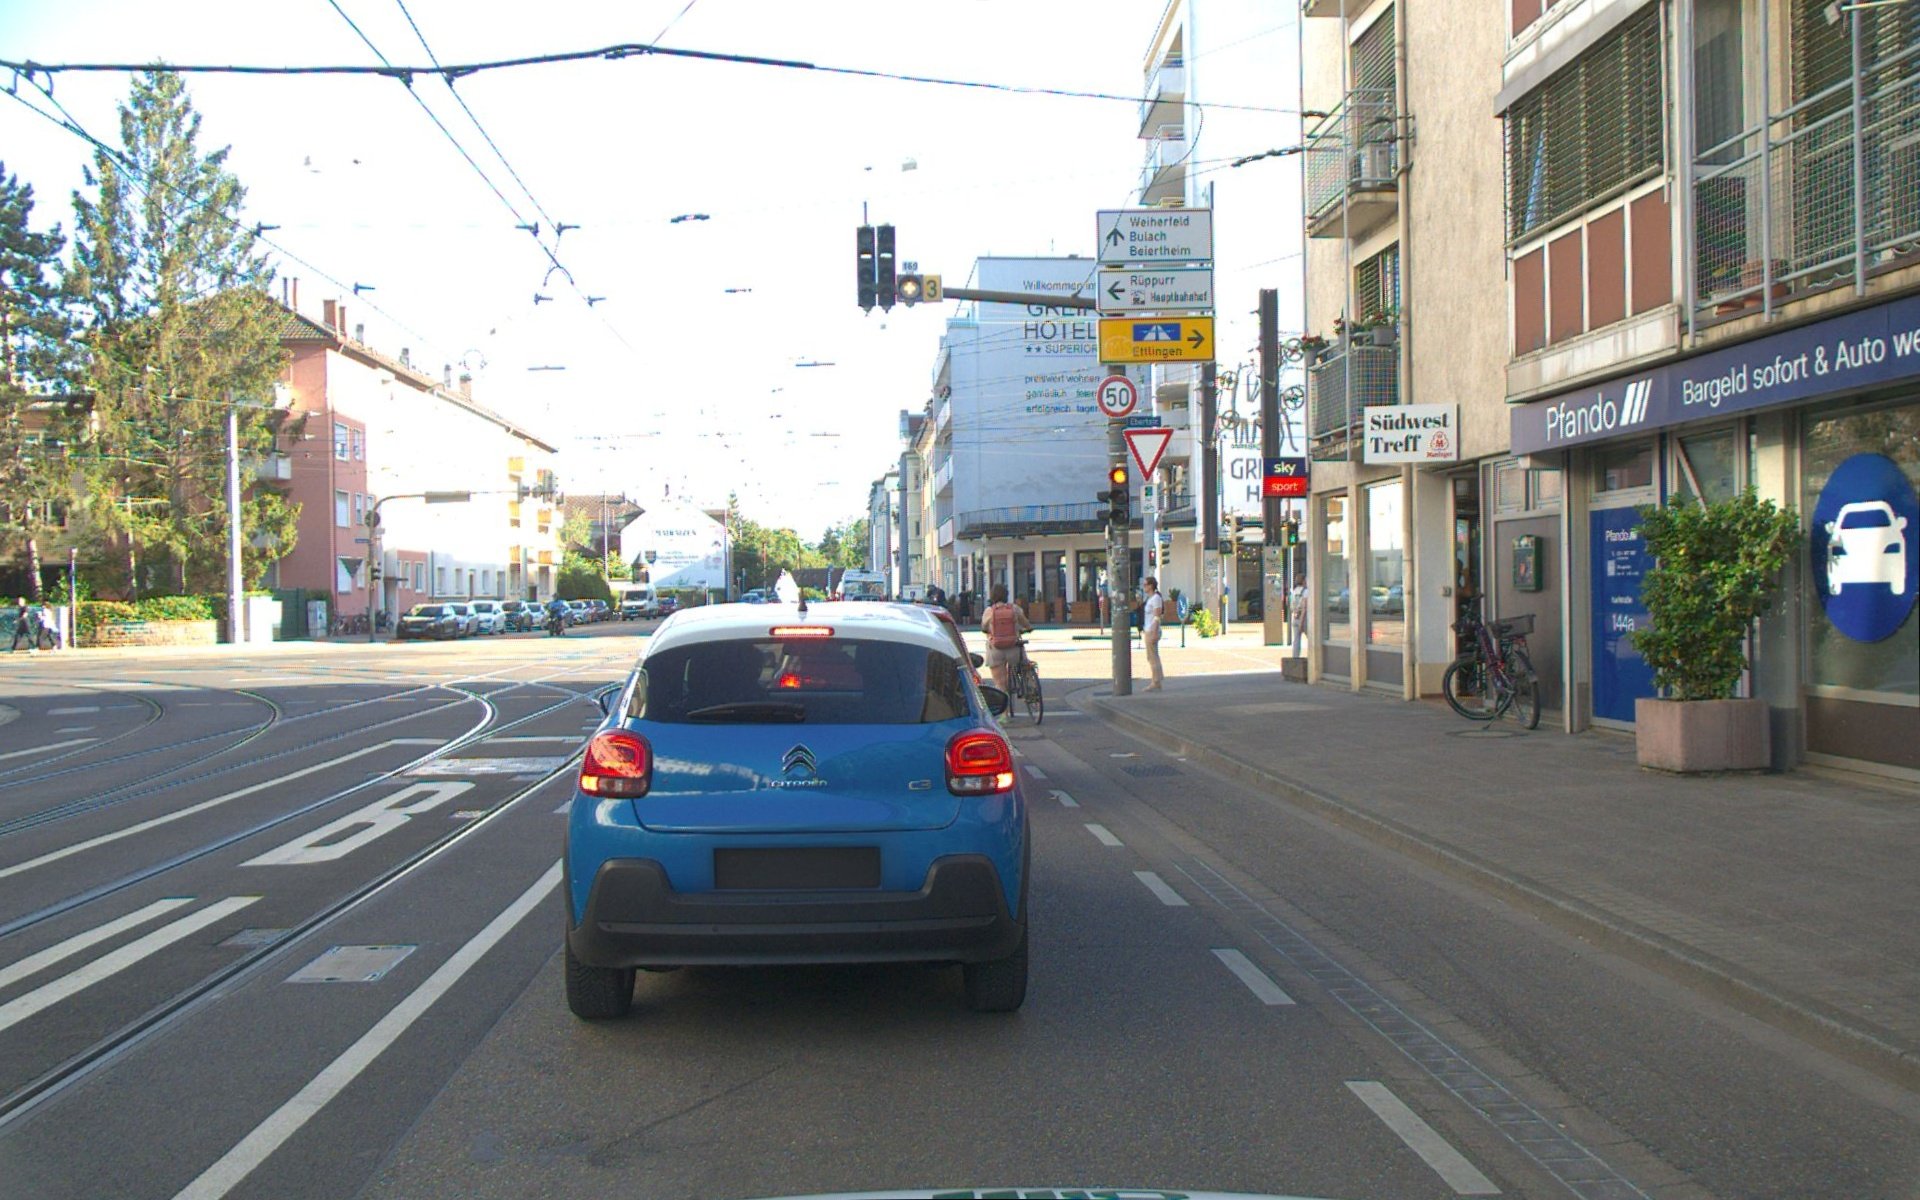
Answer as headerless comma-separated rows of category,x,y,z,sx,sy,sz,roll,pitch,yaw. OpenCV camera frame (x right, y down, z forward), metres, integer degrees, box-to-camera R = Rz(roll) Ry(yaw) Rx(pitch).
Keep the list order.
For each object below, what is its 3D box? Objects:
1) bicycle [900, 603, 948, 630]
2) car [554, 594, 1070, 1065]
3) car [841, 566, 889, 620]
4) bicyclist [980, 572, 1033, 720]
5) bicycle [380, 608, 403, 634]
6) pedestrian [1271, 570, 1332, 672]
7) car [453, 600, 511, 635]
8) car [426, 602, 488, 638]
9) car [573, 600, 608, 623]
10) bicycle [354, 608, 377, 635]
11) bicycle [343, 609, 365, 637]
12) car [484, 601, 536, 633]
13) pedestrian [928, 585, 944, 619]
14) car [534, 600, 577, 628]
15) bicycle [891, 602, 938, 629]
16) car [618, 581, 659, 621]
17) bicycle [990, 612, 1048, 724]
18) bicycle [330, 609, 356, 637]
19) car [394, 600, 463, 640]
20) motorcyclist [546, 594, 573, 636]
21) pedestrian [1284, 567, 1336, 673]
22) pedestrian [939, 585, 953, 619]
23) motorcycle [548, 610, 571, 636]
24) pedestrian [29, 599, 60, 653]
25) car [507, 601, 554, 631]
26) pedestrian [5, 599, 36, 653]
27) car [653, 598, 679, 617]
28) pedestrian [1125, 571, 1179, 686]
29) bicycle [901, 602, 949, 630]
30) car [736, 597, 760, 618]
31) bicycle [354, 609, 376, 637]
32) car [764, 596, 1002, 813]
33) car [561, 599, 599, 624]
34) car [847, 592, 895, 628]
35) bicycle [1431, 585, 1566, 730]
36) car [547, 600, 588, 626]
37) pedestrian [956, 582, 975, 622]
bicycle,-1.447,0.664,67.082,1.868,1.083,0.641,-1,0,-8
car,-0.611,0.734,7.348,1.647,1.488,3.997,1,0,-4
car,-4.232,-0.319,73.175,2.039,2.309,5.646,0,0,-4
bicyclist,0.569,0.554,20.593,0.588,1.776,1.084,-1,0,-1
bicycle,-25.674,0.940,74.688,0.597,1.101,1.908,-1,0,-7
pedestrian,5.760,0.347,27.900,0.694,1.676,0.730,-1,0,-36
car,-22.757,0.819,78.858,1.913,1.545,3.995,-1,0,-6
car,-22.555,0.875,74.252,1.913,1.545,4.040,-1,0,-6
car,-25.569,0.785,114.590,1.913,1.545,3.995,-1,0,-6
bicycle,-25.875,0.927,71.983,0.527,1.101,1.908,-1,0,-7
bicycle,-24.589,0.928,67.113,0.527,1.101,1.905,-1,0,-11
car,-23.235,0.838,85.515,1.913,1.545,3.995,-1,0,-6
pedestrian,-1.011,0.088,70.235,0.514,1.445,0.547,-1,0,19
car,-23.936,0.821,97.989,1.913,1.545,3.995,-1,0,-6
bicycle,-1.861,0.641,68.268,1.868,1.083,0.641,-1,0,-8
car,-23.227,0.064,119.573,2.446,2.759,5.828,-1,0,-7
bicycle,0.722,0.816,20.634,0.601,1.286,1.910,-1,0,-1
bicycle,-24.983,0.918,66.987,0.628,1.101,1.905,-1,0,-11
car,-22.015,0.790,68.647,1.913,1.545,3.995,-1,0,-6
motorcyclist,-16.206,0.606,66.949,0.973,1.659,0.737,-1,0,-10
pedestrian,5.640,0.315,26.630,0.722,1.676,0.754,-1,0,18
pedestrian,-0.586,0.083,69.990,0.459,1.445,0.525,-1,0,-13
motorcycle,-16.226,0.939,67.017,0.738,0.993,2.092,-1,0,-9
pedestrian,-29.640,0.835,53.533,0.798,1.732,0.602,-1,0,-25
car,-23.765,0.854,91.564,1.913,1.545,3.995,-1,0,-6
pedestrian,-30.709,0.831,54.068,0.798,1.732,0.629,-1,0,-25
car,-25.579,0.639,144.162,1.913,1.545,3.995,-1,0,-6
pedestrian,2.826,0.414,24.405,0.735,1.663,0.740,-1,0,5
bicycle,-1.394,0.639,65.777,1.868,1.083,0.641,-1,0,-8
car,-21.817,0.802,170.489,2.293,2.074,5.044,-1,0,-6
bicycle,-24.231,0.936,67.412,0.527,1.101,1.905,-1,0,-11
car,-0.678,0.729,13.556,1.647,1.488,3.997,1,0,-4
car,-24.853,0.747,108.259,1.913,1.545,3.995,-1,0,-6
car,-3.677,0.382,67.737,1.752,1.383,3.909,-1,0,-6
bicycle,5.114,0.507,15.817,0.627,1.286,1.910,-1,0,-1
car,-24.411,0.805,102.986,1.913,1.545,3.995,-1,0,-6
pedestrian,0.227,0.066,70.127,0.551,1.676,0.529,-1,0,-45
